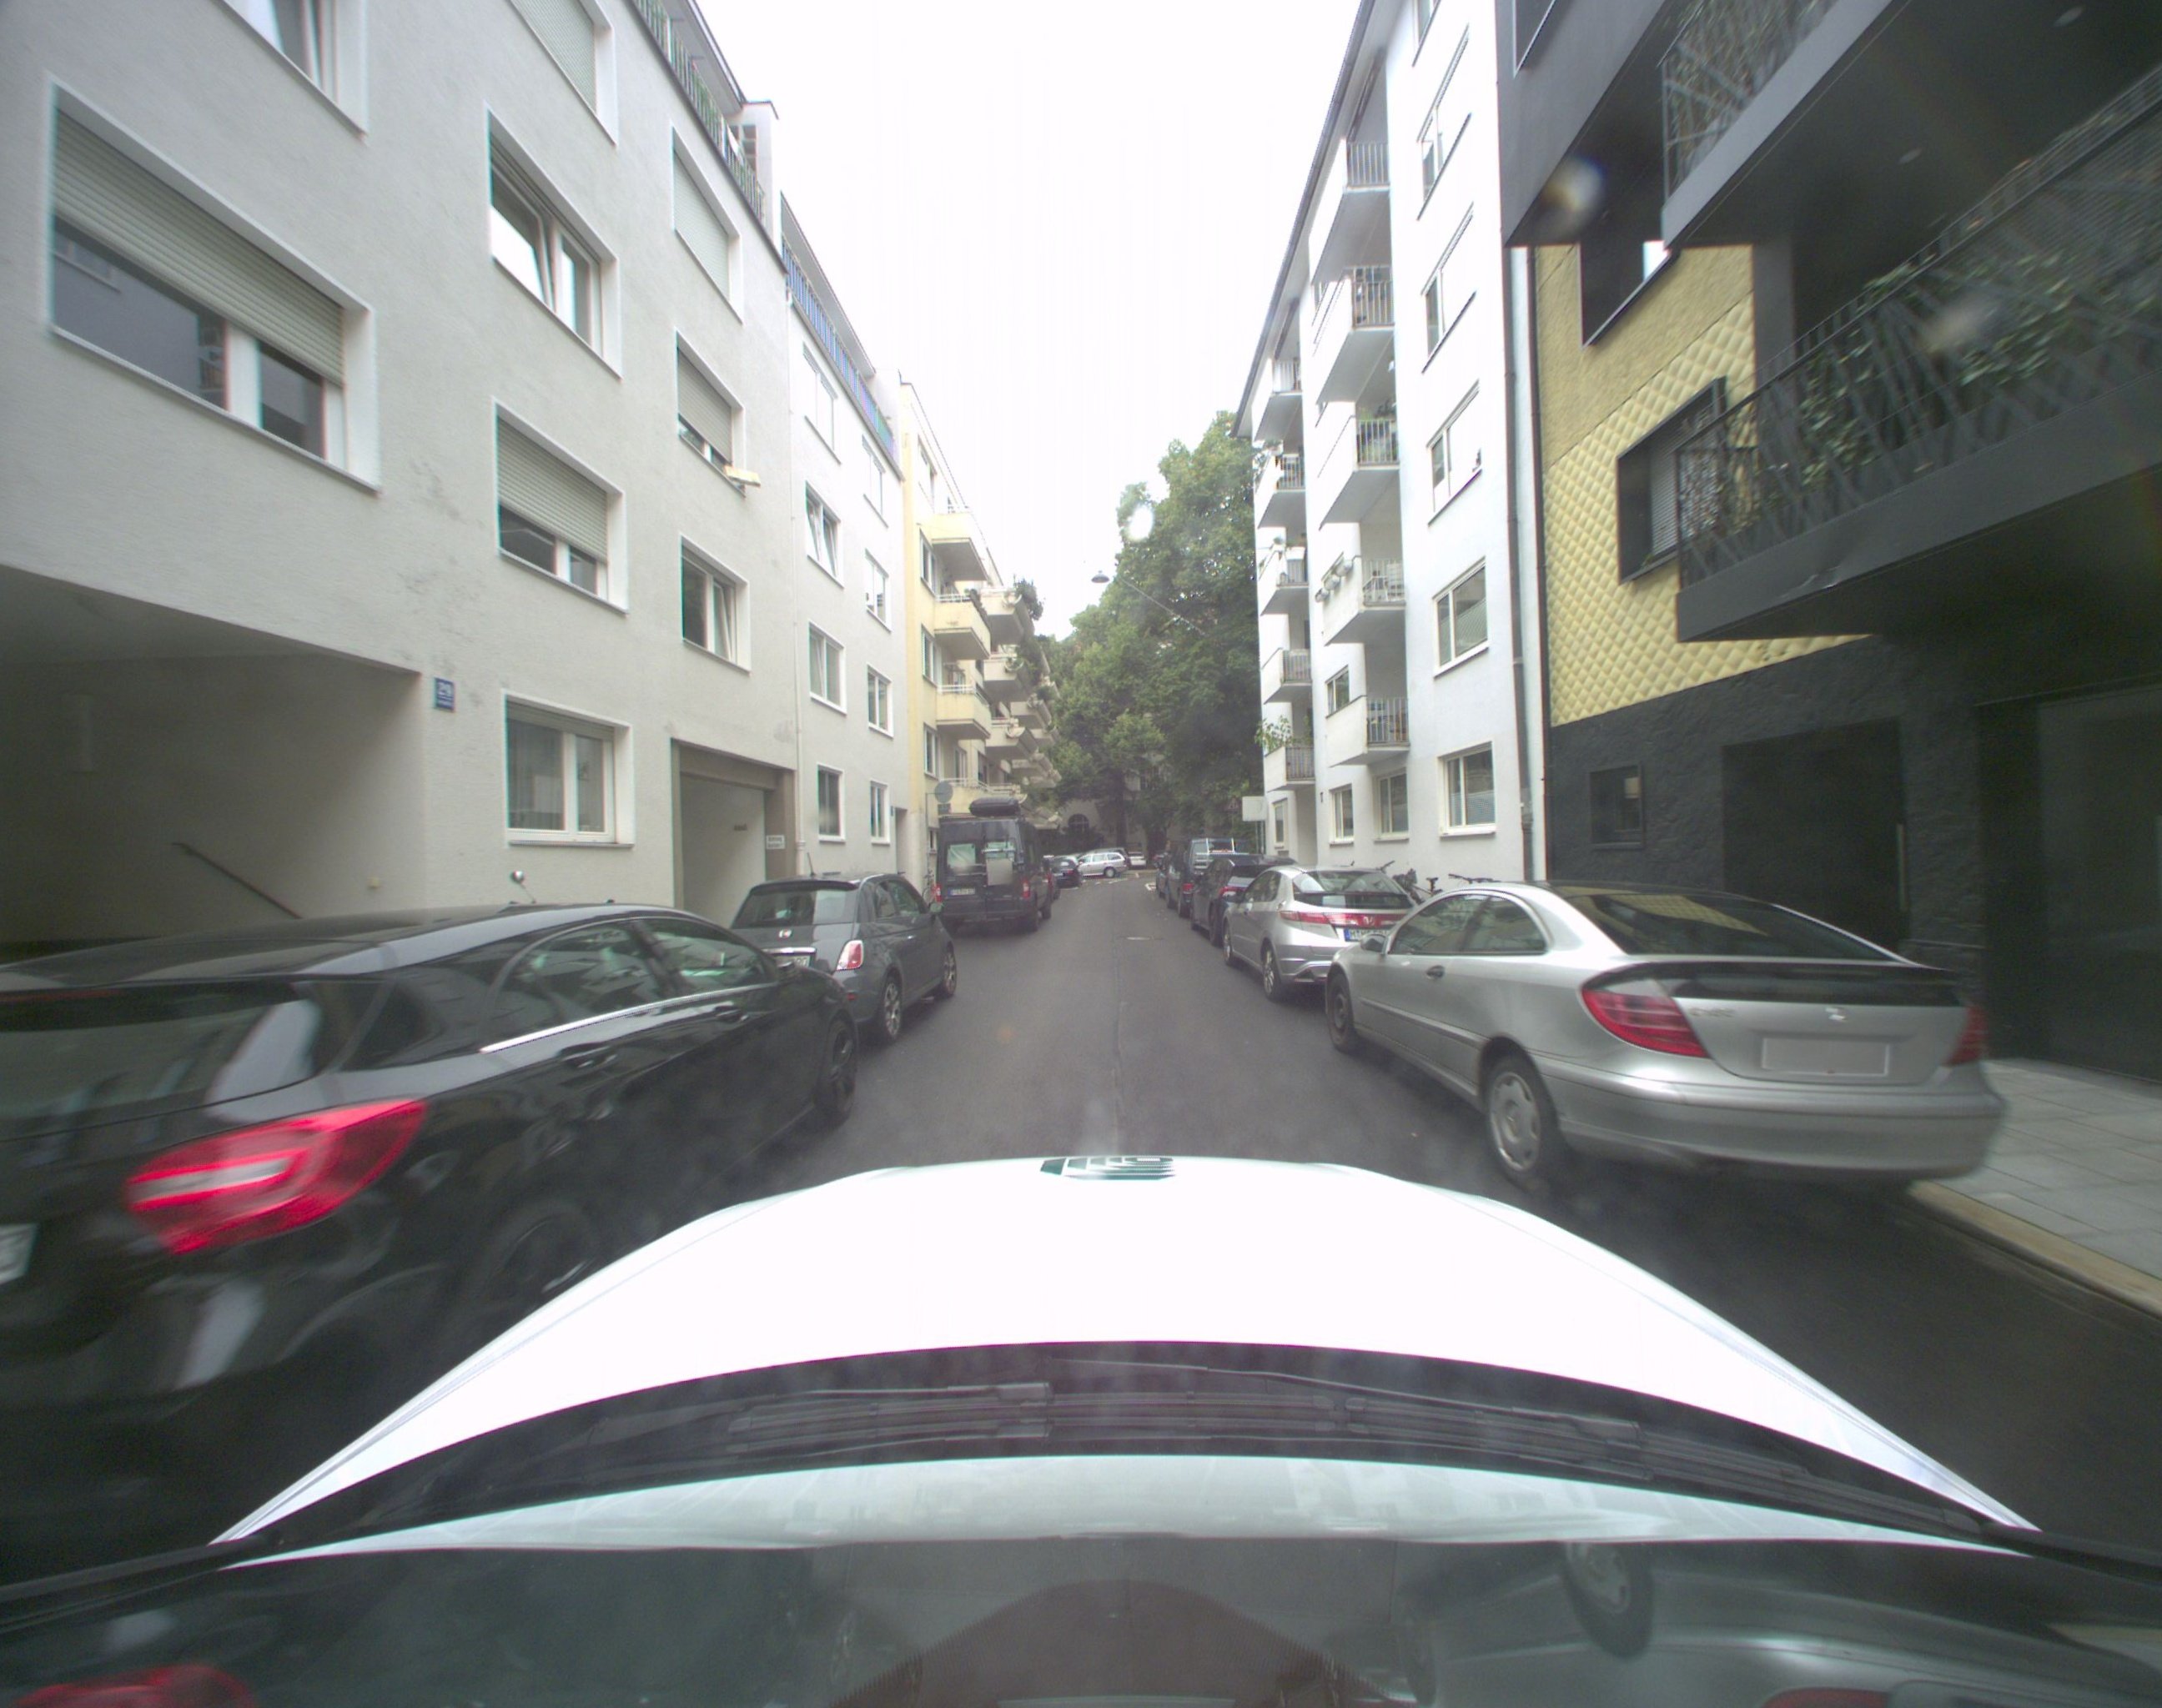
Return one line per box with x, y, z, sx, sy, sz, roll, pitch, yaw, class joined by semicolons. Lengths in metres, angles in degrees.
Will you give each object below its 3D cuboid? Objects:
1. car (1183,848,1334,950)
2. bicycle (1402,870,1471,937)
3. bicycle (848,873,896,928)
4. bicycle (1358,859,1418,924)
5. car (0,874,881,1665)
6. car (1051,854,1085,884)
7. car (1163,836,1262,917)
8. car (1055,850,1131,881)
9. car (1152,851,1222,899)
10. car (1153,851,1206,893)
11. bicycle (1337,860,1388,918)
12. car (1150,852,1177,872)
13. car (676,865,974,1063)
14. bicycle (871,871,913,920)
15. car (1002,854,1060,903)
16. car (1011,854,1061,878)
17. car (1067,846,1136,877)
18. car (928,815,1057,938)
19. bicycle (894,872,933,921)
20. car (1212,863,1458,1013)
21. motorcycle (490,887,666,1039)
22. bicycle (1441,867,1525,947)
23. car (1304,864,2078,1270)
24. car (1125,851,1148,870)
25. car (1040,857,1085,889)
3.124;0.729;15.287;1.899;1.554;4.626;-2;0;1;car
5.771;0.777;13.297;0.475;1.002;1.552;-1;0;1;bicycle
-4.561;0.983;17.873;0.461;1.097;1.872;-1;0;3;bicycle
5.841;0.695;15.584;0.568;1.151;1.563;-1;0;1;bicycle
-2.338;0.864;3.674;1.795;1.417;4.226;-2;0;0;car
-0.659;0.751;42.738;1.555;1.421;3.834;-4;0;1;car
3.242;0.520;20.986;1.867;1.791;4.783;-2;0;1;car
0.691;0.646;46.684;4.213;1.455;1.722;-4;0;1;car
3.416;0.644;26.939;1.827;1.419;4.059;-2;0;1;car
3.721;0.636;31.310;1.736;1.441;4.003;-2;0;3;car
5.900;0.707;17.136;0.568;1.151;1.431;-1;0;1;bicycle
6.371;0.564;62.706;1.781;1.431;4.010;-1;0;9;car
-2.306;0.914;8.399;1.605;1.446;3.746;-4;-1;3;car
-4.559;0.974;19.760;0.461;1.097;1.872;-1;0;3;bicycle
-1.607;0.776;27.410;1.614;1.496;3.709;-2;0;1;car
-3.217;0.855;58.549;3.296;1.631;1.501;-1;0;-18;car
1.309;0.468;51.925;4.206;1.684;1.902;-4;0;0;car
-1.813;0.457;18.602;2.010;2.279;5.394;-3;0;2;car
-4.056;1.002;19.832;0.461;1.097;1.872;-1;0;3;bicycle
2.865;0.855;10.204;1.754;1.431;4.260;1;0;0;car
-4.738;0.960;7.836;0.598;1.203;1.856;-2;0;-3;motorcycle
5.741;0.724;11.709;0.475;1.048;1.522;-1;0;1;bicycle
2.847;0.813;5.134;1.729;1.429;4.202;-2;0;0;car
4.380;0.498;63.842;1.710;1.431;4.005;-1;0;4;car
-0.789;0.830;37.591;1.790;1.278;4.618;-4;0;2;car
